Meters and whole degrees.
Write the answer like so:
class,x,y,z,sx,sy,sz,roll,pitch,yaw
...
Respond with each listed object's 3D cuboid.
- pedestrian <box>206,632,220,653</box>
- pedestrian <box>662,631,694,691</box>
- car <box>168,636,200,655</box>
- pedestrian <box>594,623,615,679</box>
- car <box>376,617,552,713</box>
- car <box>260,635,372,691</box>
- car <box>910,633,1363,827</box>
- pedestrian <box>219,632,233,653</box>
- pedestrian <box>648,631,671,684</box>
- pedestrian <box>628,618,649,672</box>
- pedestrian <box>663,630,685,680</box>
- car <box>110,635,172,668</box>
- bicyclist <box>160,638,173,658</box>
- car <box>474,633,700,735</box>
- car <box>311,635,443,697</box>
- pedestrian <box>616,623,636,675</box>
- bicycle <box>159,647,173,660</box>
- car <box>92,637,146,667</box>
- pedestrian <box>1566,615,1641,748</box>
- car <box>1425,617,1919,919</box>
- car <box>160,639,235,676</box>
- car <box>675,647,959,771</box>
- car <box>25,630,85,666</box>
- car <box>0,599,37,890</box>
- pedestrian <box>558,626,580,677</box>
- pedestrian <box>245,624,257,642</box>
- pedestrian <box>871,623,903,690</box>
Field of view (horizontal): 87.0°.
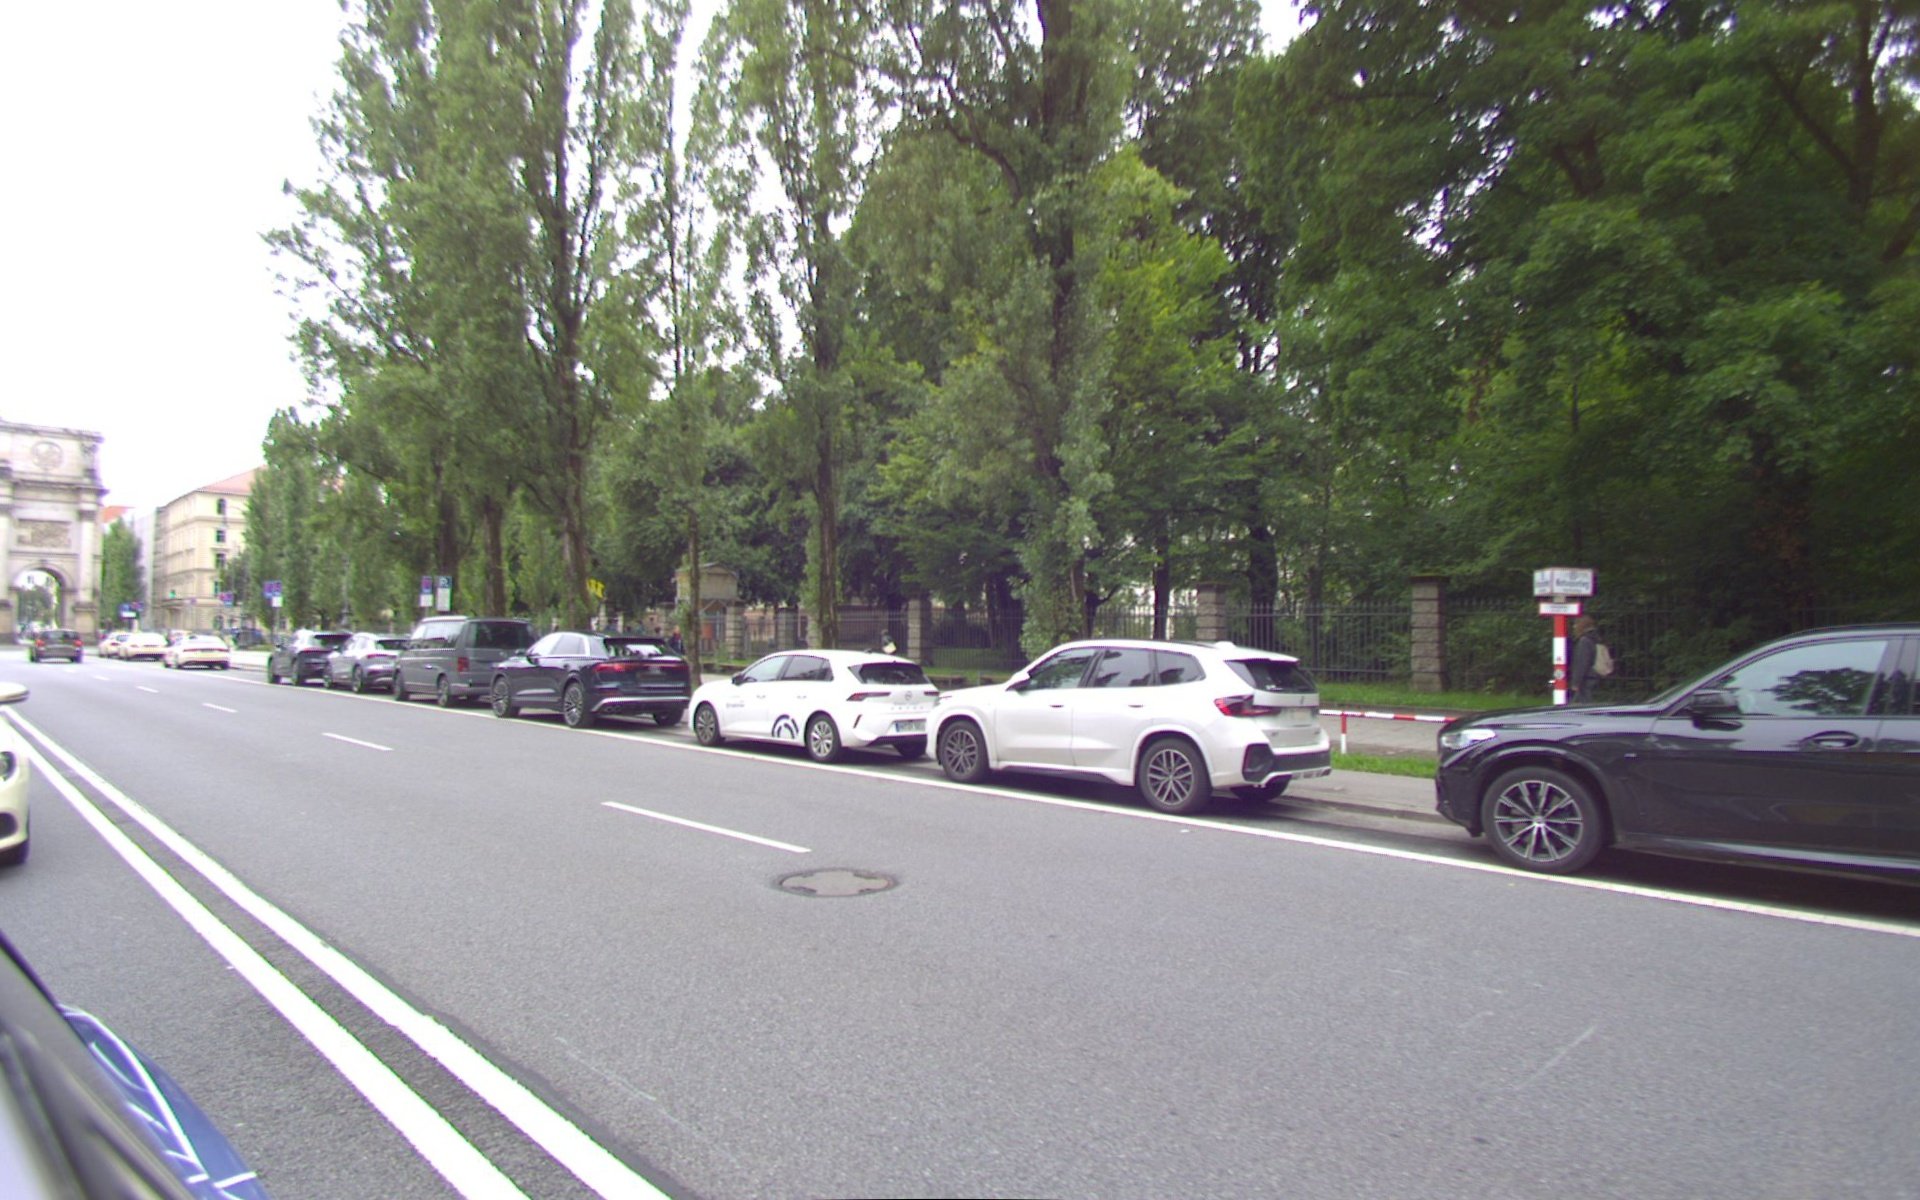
class,x,y,z,sx,sy,sz,roll,pitch,yaw
pedestrian,-62.029,3.531,84.029,0.832,1.691,0.970,1,-3,-30
pedestrian,-8.275,1.772,29.705,0.787,1.733,0.576,-2,-2,42
car,-82.754,4.810,107.906,1.976,1.869,4.994,4,-3,-44
pedestrian,-12.754,1.818,36.303,0.532,1.974,0.543,-2,-2,43
car,-11.521,1.463,23.345,4.937,1.971,1.971,-2,-5,43
car,-19.813,1.913,31.062,4.614,1.608,1.762,-2,-5,43
car,1.646,1.198,10.606,4.462,1.600,1.765,-2,-5,44
pedestrian,-61.212,3.533,84.379,0.832,1.691,0.970,1,-3,-30
pedestrian,-9.996,1.896,33.628,0.532,1.714,0.543,-2,-2,43
pedestrian,-11.907,1.674,37.511,0.532,1.974,0.543,-2,-2,43
pedestrian,-9.628,1.838,34.080,0.532,1.682,0.543,-2,-2,43
car,-43.915,2.739,54.202,4.966,1.637,1.916,-1,-3,44
bicyclist,-60.979,3.684,77.760,0.685,1.510,0.862,2,-3,-43
car,-6.968,1.451,18.586,5.053,1.621,1.795,-2,-5,43
car,-16.191,1.773,28.003,4.654,1.596,1.870,-2,-4,43
pedestrian,-12.112,1.768,36.691,0.612,1.849,0.428,-2,-2,43
bicycle,-60.965,4.101,77.736,0.699,0.946,1.737,1,-2,-43
car,-48.936,3.003,58.860,4.859,1.571,1.798,-1,-4,43
pedestrian,9.180,1.140,14.439,0.775,1.829,0.633,-2,-3,43
car,5.769,0.999,6.506,4.717,1.671,1.860,-2,-5,42
car,-33.318,2.492,44.160,4.792,1.509,1.909,-3,-4,44
car,-2.130,1.414,14.230,4.238,1.433,1.658,-2,-4,43
car,-43.920,2.327,49.091,4.113,1.669,1.765,-2,-4,43
car,-7.454,0.837,6.609,1.893,1.587,4.692,-1,-1,-45
pedestrian,-13.546,1.774,35.065,0.532,1.761,0.543,-2,-2,43
pedestrian,-77.921,3.644,111.212,0.747,2.029,0.792,-1,-2,9
pedestrian,-1.968,1.514,27.265,0.673,1.761,0.543,-2,-2,43
